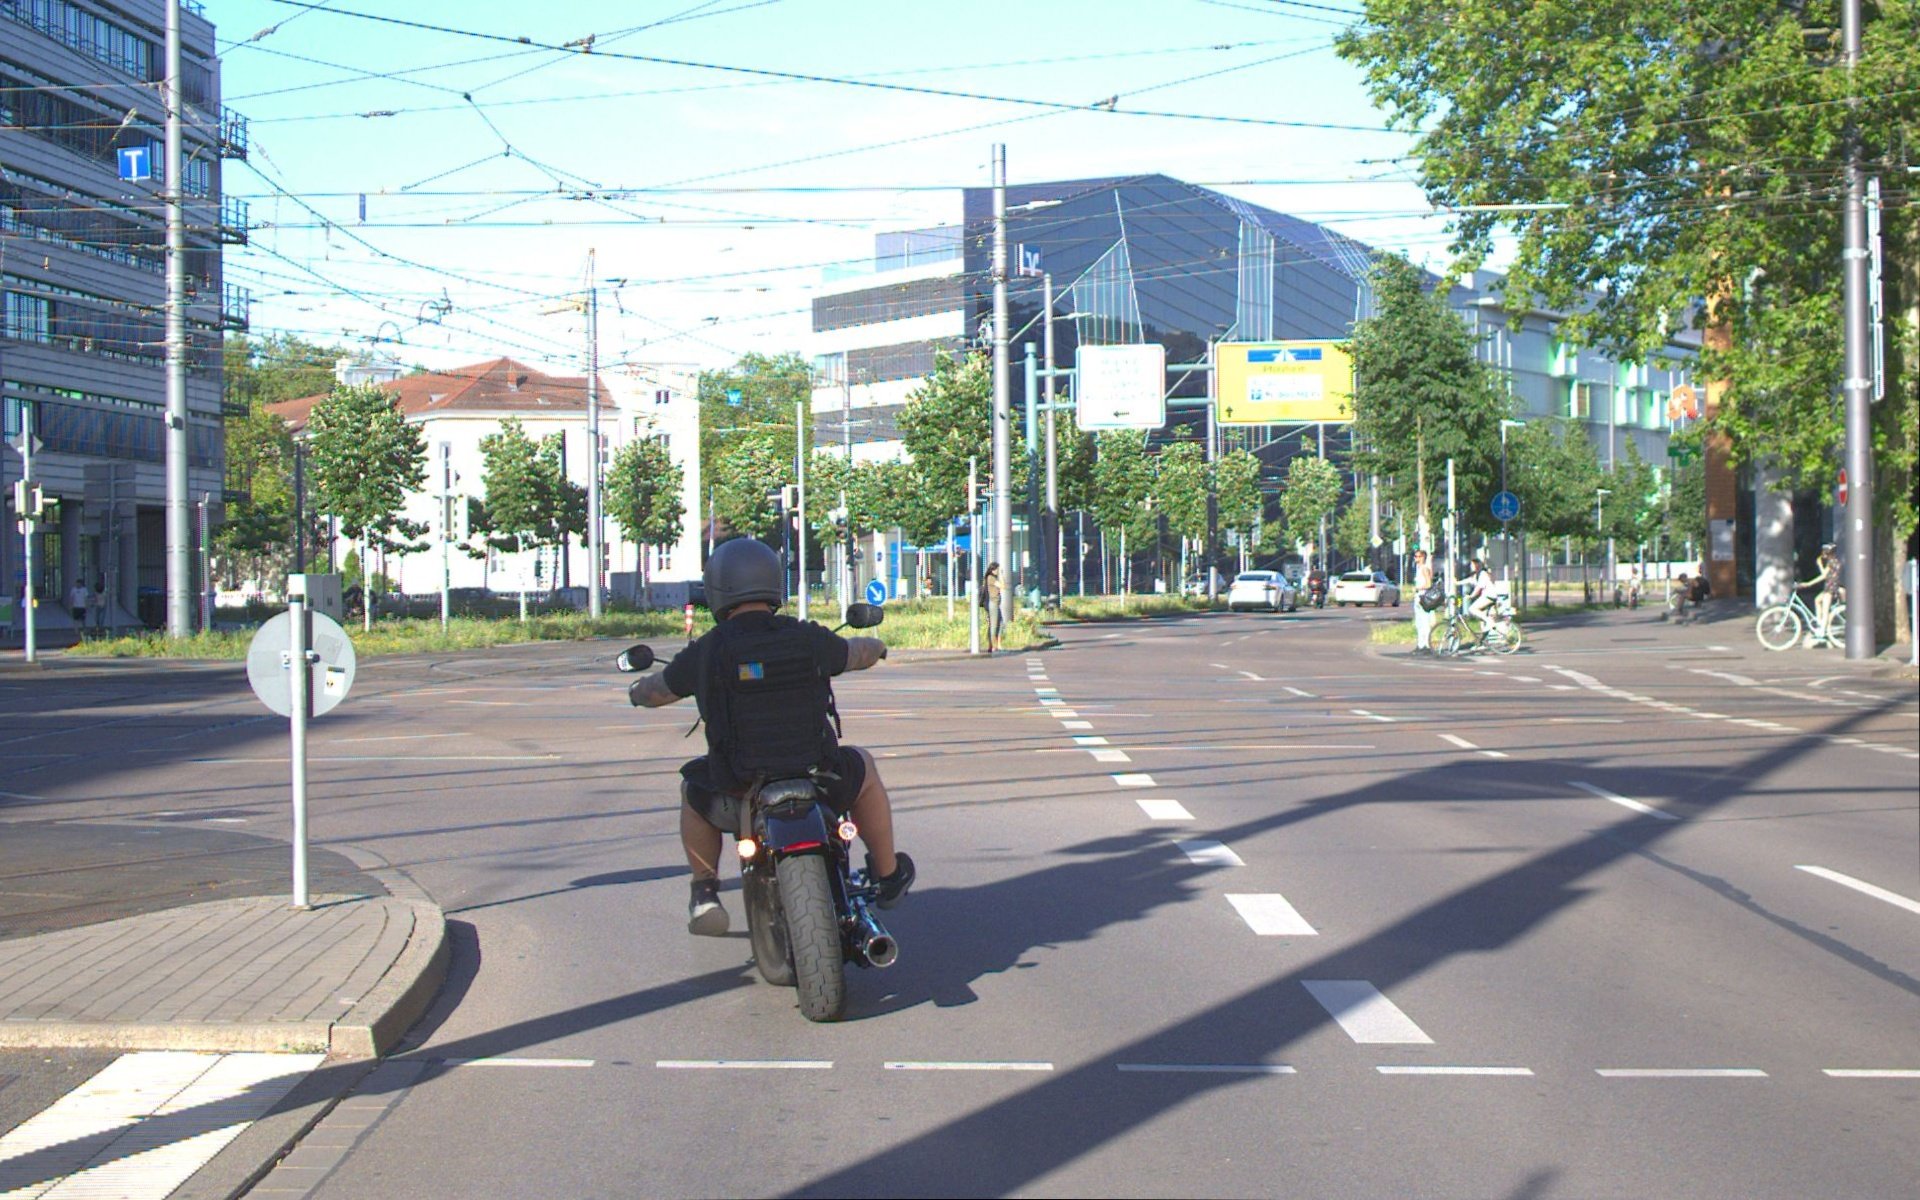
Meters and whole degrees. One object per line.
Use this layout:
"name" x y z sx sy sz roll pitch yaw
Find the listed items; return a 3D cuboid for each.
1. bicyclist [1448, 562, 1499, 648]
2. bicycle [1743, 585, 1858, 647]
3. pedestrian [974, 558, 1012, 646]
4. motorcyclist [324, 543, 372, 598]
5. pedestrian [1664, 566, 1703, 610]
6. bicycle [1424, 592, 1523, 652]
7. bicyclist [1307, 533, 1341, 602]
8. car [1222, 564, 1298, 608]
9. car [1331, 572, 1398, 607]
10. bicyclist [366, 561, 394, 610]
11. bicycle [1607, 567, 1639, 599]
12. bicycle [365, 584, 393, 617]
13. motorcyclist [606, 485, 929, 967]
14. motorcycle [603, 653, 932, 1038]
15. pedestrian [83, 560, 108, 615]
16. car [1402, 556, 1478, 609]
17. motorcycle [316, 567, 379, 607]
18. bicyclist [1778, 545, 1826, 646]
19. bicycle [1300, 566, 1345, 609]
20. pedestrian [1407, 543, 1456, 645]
"bicyclist" 9.015 0.086 60.361 0.743 1.498 0.569 -1 0 24
"bicycle" 14.269 0.273 58.374 1.853 1.018 0.516 -1 0 11
"pedestrian" 0.601 0.039 61.905 0.657 1.577 0.489 0 1 3
"motorcyclist" -19.392 -0.922 108.951 1.019 1.725 1.460 0 0 10
"pedestrian" 17.625 -0.291 83.761 0.785 1.053 0.813 0 1 22
"bicycle" 9.014 0.387 60.340 1.629 1.018 0.516 -1 0 23
"bicyclist" 13.776 -1.230 130.137 1.017 2.615 1.470 0 1 17
"car" 10.476 -0.473 119.907 1.903 1.503 3.997 1 0 16
"car" 16.356 -0.418 138.847 2.017 1.371 4.035 0 1 17
"bicyclist" -19.872 -0.493 117.725 0.764 1.661 0.994 0 1 2
"bicycle" 23.954 -0.612 124.199 1.040 1.129 3.178 0 1 12
"bicycle" -19.904 0.003 117.733 0.642 1.104 1.685 0 1 1
"motorcyclist" -0.664 0.401 11.747 1.022 1.547 1.287 1 1 -4
"motorcycle" -0.676 0.782 11.827 1.005 1.121 2.323 1 1 -4
"pedestrian" -27.015 -0.394 107.425 0.548 1.727 0.641 -1 1 6
"car" 17.326 -0.616 123.995 2.055 1.867 4.223 1 0 17
"motorcycle" -19.396 -0.420 108.874 0.984 1.227 2.941 0 0 11
"bicyclist" 14.295 -0.073 58.374 0.743 1.689 0.570 -1 0 11
"bicycle" 13.709 -0.481 130.029 1.017 1.574 3.571 0 1 17
"pedestrian" 8.539 -0.109 62.248 0.701 1.830 0.514 1 0 35
